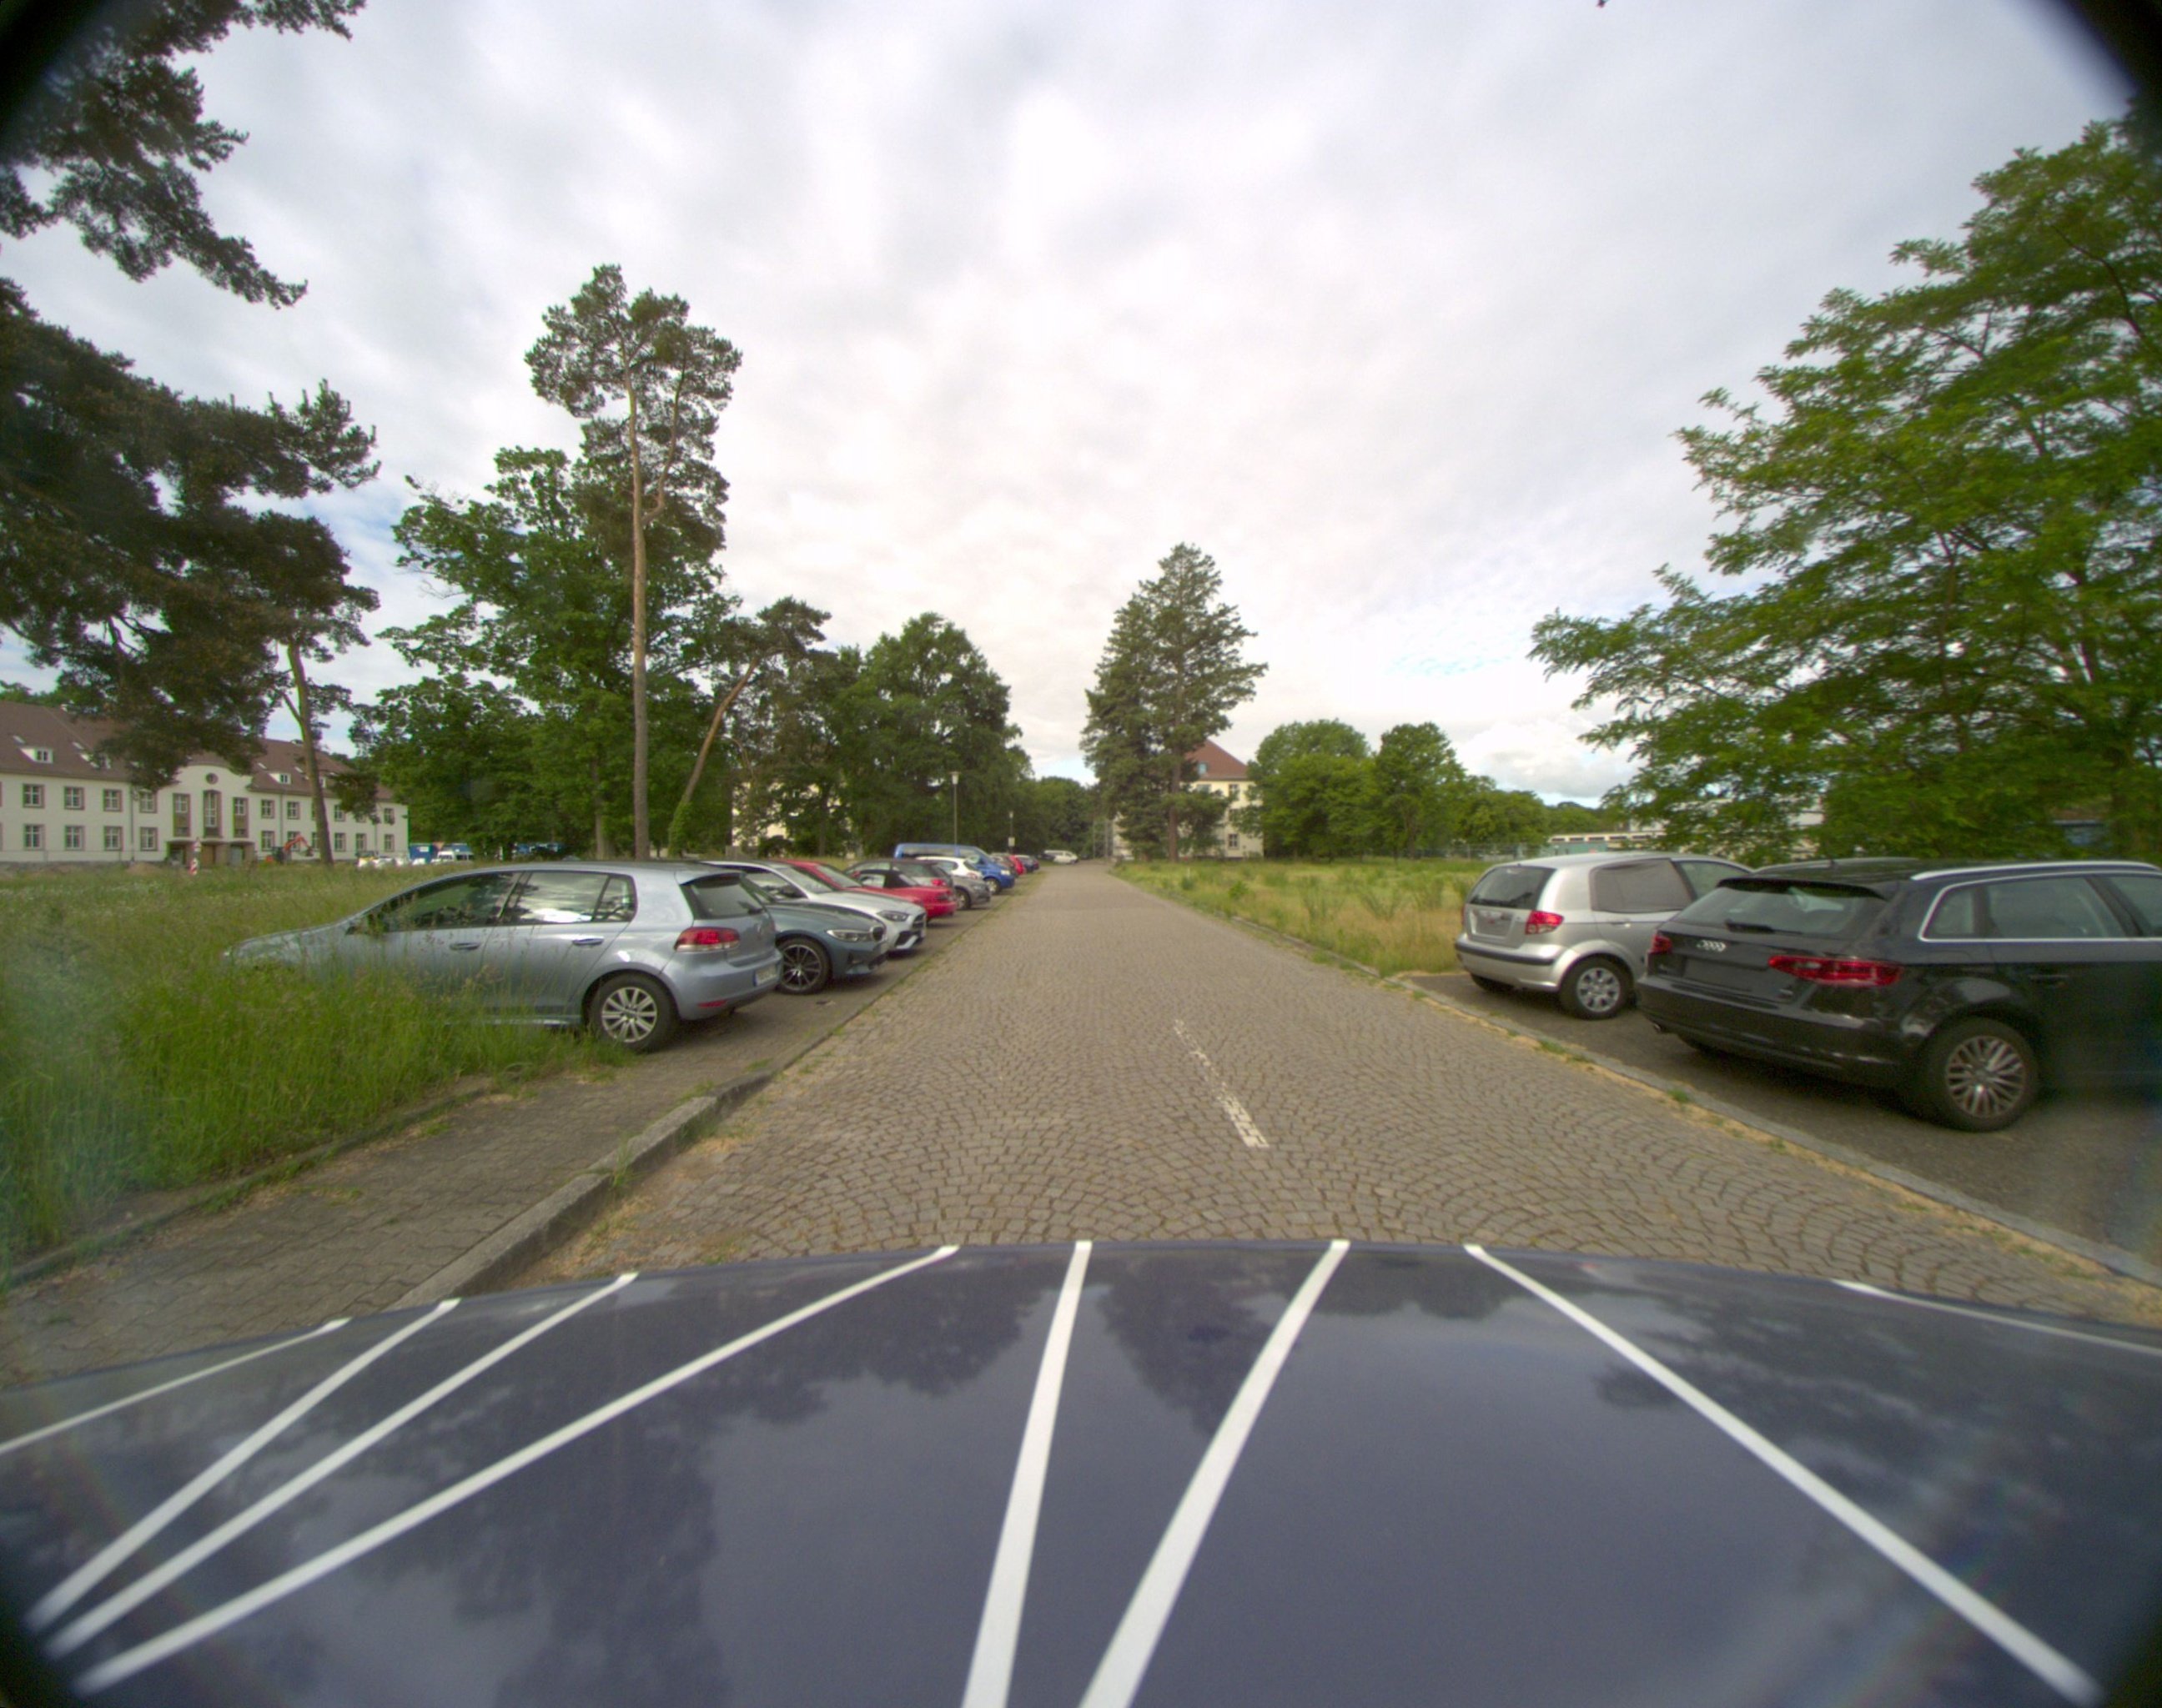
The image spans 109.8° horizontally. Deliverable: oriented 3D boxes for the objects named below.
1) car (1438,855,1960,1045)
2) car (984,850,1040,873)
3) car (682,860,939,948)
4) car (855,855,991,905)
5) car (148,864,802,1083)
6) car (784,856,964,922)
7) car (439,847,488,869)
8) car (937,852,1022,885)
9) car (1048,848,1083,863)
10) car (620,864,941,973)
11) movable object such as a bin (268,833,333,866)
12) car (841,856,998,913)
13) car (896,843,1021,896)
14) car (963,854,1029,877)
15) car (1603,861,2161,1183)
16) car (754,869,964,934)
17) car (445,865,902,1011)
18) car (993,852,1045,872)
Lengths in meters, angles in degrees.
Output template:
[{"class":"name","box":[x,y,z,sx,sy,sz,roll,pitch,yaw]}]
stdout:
[{"class":"car","box":[5.882,0.835,7.500,3.961,1.462,1.584,-3,1,-4]},{"class":"car","box":[-5.377,0.581,59.784,4.082,1.685,1.727,1,0,6]},{"class":"car","box":[-4.914,0.889,14.211,4.184,1.473,1.717,1,0,0]},{"class":"car","box":[-5.091,0.809,24.809,4.050,1.507,1.600,1,0,2]},{"class":"car","box":[-4.681,0.891,6.364,4.012,1.420,1.697,2,0,-2]},{"class":"car","box":[-5.107,0.847,19.062,4.050,1.507,1.600,1,0,2]},{"class":"car","box":[-69.507,0.457,85.600,1.862,2.351,4.446,-1,1,0]},{"class":"car","box":[-5.183,0.728,39.124,4.083,1.584,1.654,1,0,2]},{"class":"car","box":[-2.359,0.177,113.186,5.150,2.137,1.774,1,1,-4]},{"class":"car","box":[-4.478,0.933,11.741,4.247,1.465,1.717,1,0,1]},{"class":"movable object such as a bin","box":[-89.829,-0.514,87.474,5.458,3.748,2.053,-1,1,3]},{"class":"car","box":[-4.570,0.853,21.895,4.097,1.507,1.700,1,0,2]},{"class":"car","box":[-4.801,0.584,30.226,4.602,1.994,1.912,1,1,1]},{"class":"car","box":[-5.492,0.725,49.435,4.084,1.436,1.726,1,0,1]},{"class":"car","box":[6.114,0.864,4.830,4.447,1.416,1.721,-3,1,-3]},{"class":"car","box":[-4.680,0.998,16.402,4.051,1.233,1.549,1,0,0]},{"class":"car","box":[-4.548,0.921,8.994,4.440,1.375,1.663,2,0,-2]},{"class":"car","box":[-5.238,0.665,64.477,4.091,1.524,1.727,1,0,6]}]
